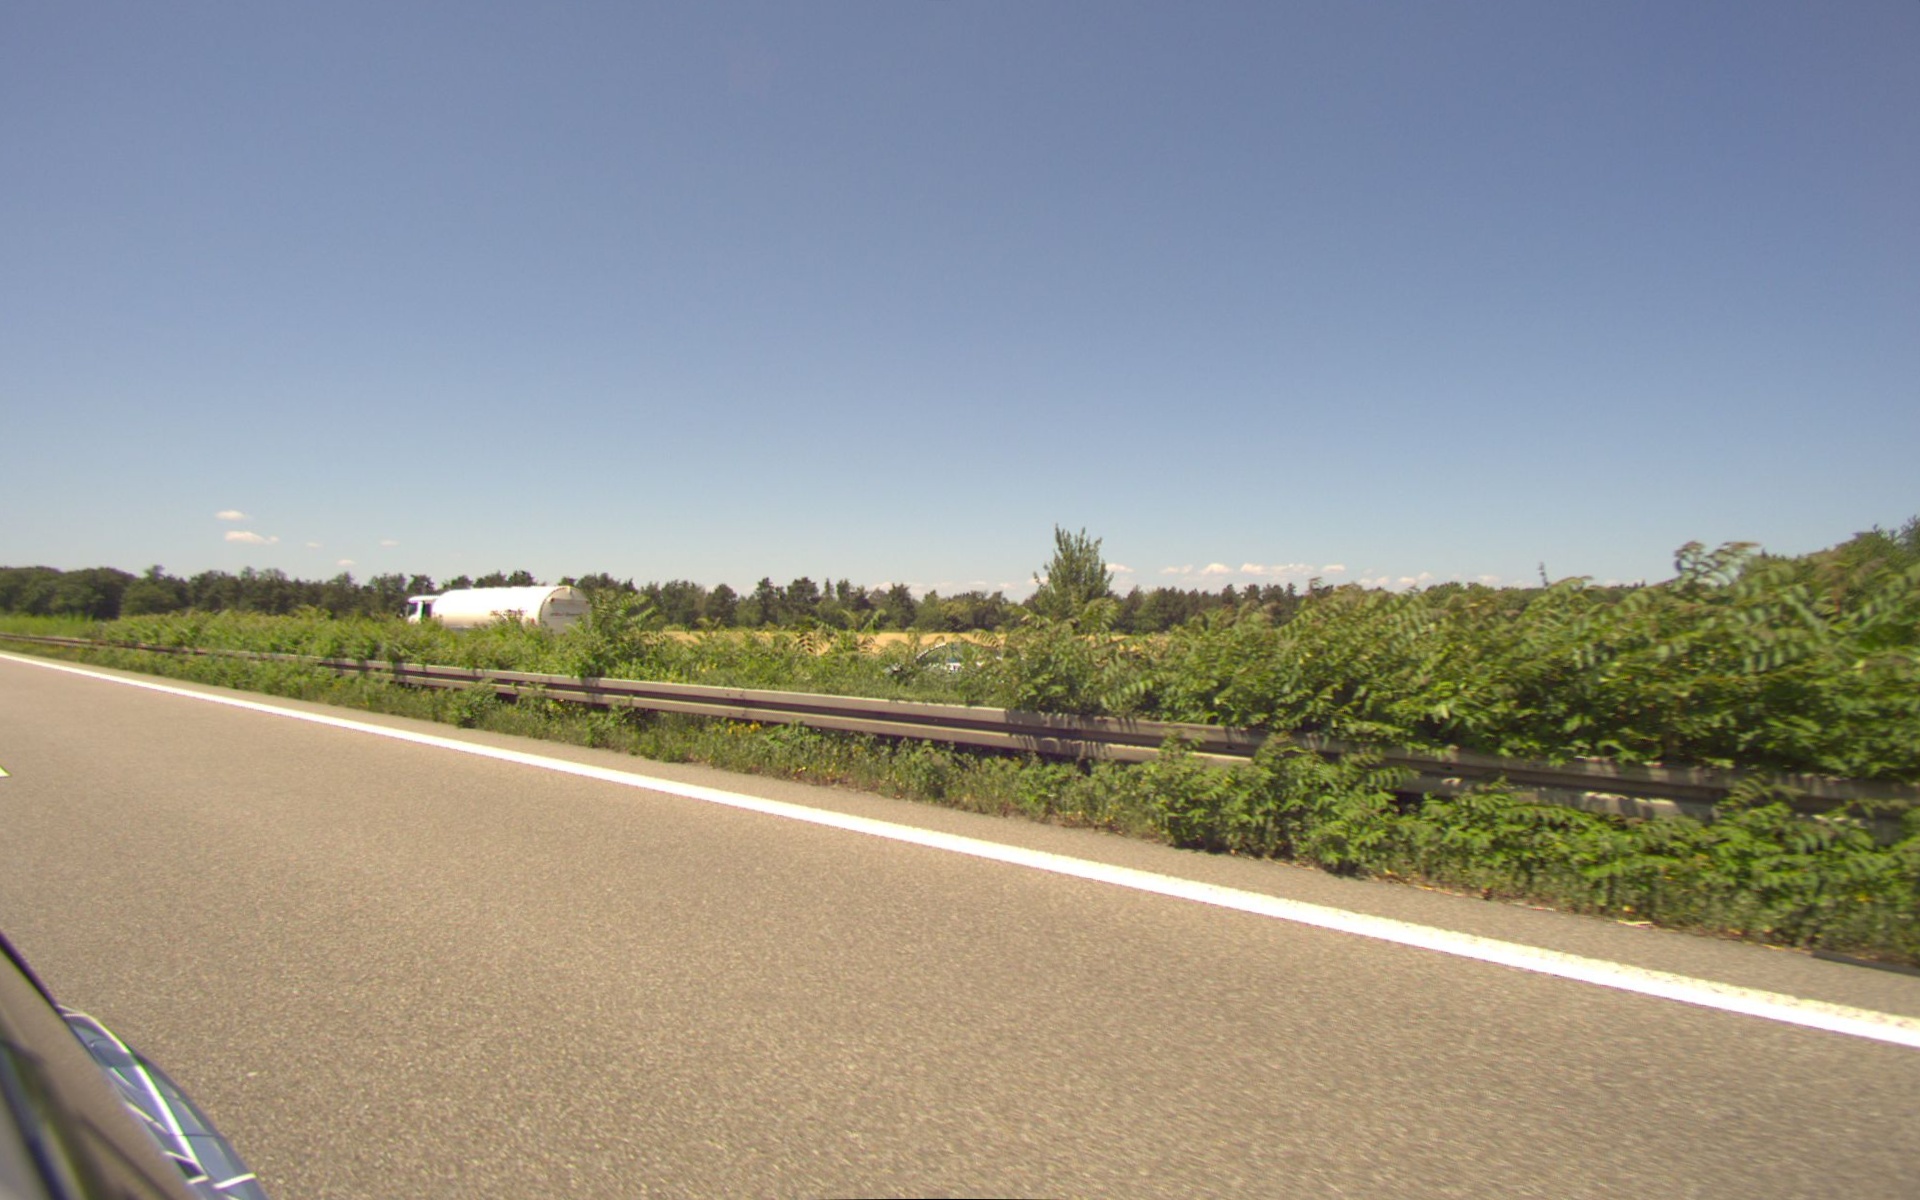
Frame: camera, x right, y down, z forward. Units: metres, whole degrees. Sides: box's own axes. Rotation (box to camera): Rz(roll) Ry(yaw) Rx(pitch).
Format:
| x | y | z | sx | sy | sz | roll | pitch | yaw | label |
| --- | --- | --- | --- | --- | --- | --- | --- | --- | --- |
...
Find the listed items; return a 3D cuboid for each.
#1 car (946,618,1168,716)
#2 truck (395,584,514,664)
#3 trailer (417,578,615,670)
| x | y | z | sx | sy | sz | roll | pitch | yaw | label |
| --- | --- | --- | --- | --- | --- | --- | --- | --- | --- |
| 1.802 | 1.222 | 19.496 | 3.999 | 1.697 | 1.786 | -1 | -3 | 42 | car |
| -24.012 | 1.139 | 48.018 | 5.431 | 3.543 | 3.194 | -1 | -2 | 41 | truck |
| -19.637 | 1.043 | 44.194 | 11.763 | 3.543 | 3.194 | -1 | -2 | 41 | trailer |
